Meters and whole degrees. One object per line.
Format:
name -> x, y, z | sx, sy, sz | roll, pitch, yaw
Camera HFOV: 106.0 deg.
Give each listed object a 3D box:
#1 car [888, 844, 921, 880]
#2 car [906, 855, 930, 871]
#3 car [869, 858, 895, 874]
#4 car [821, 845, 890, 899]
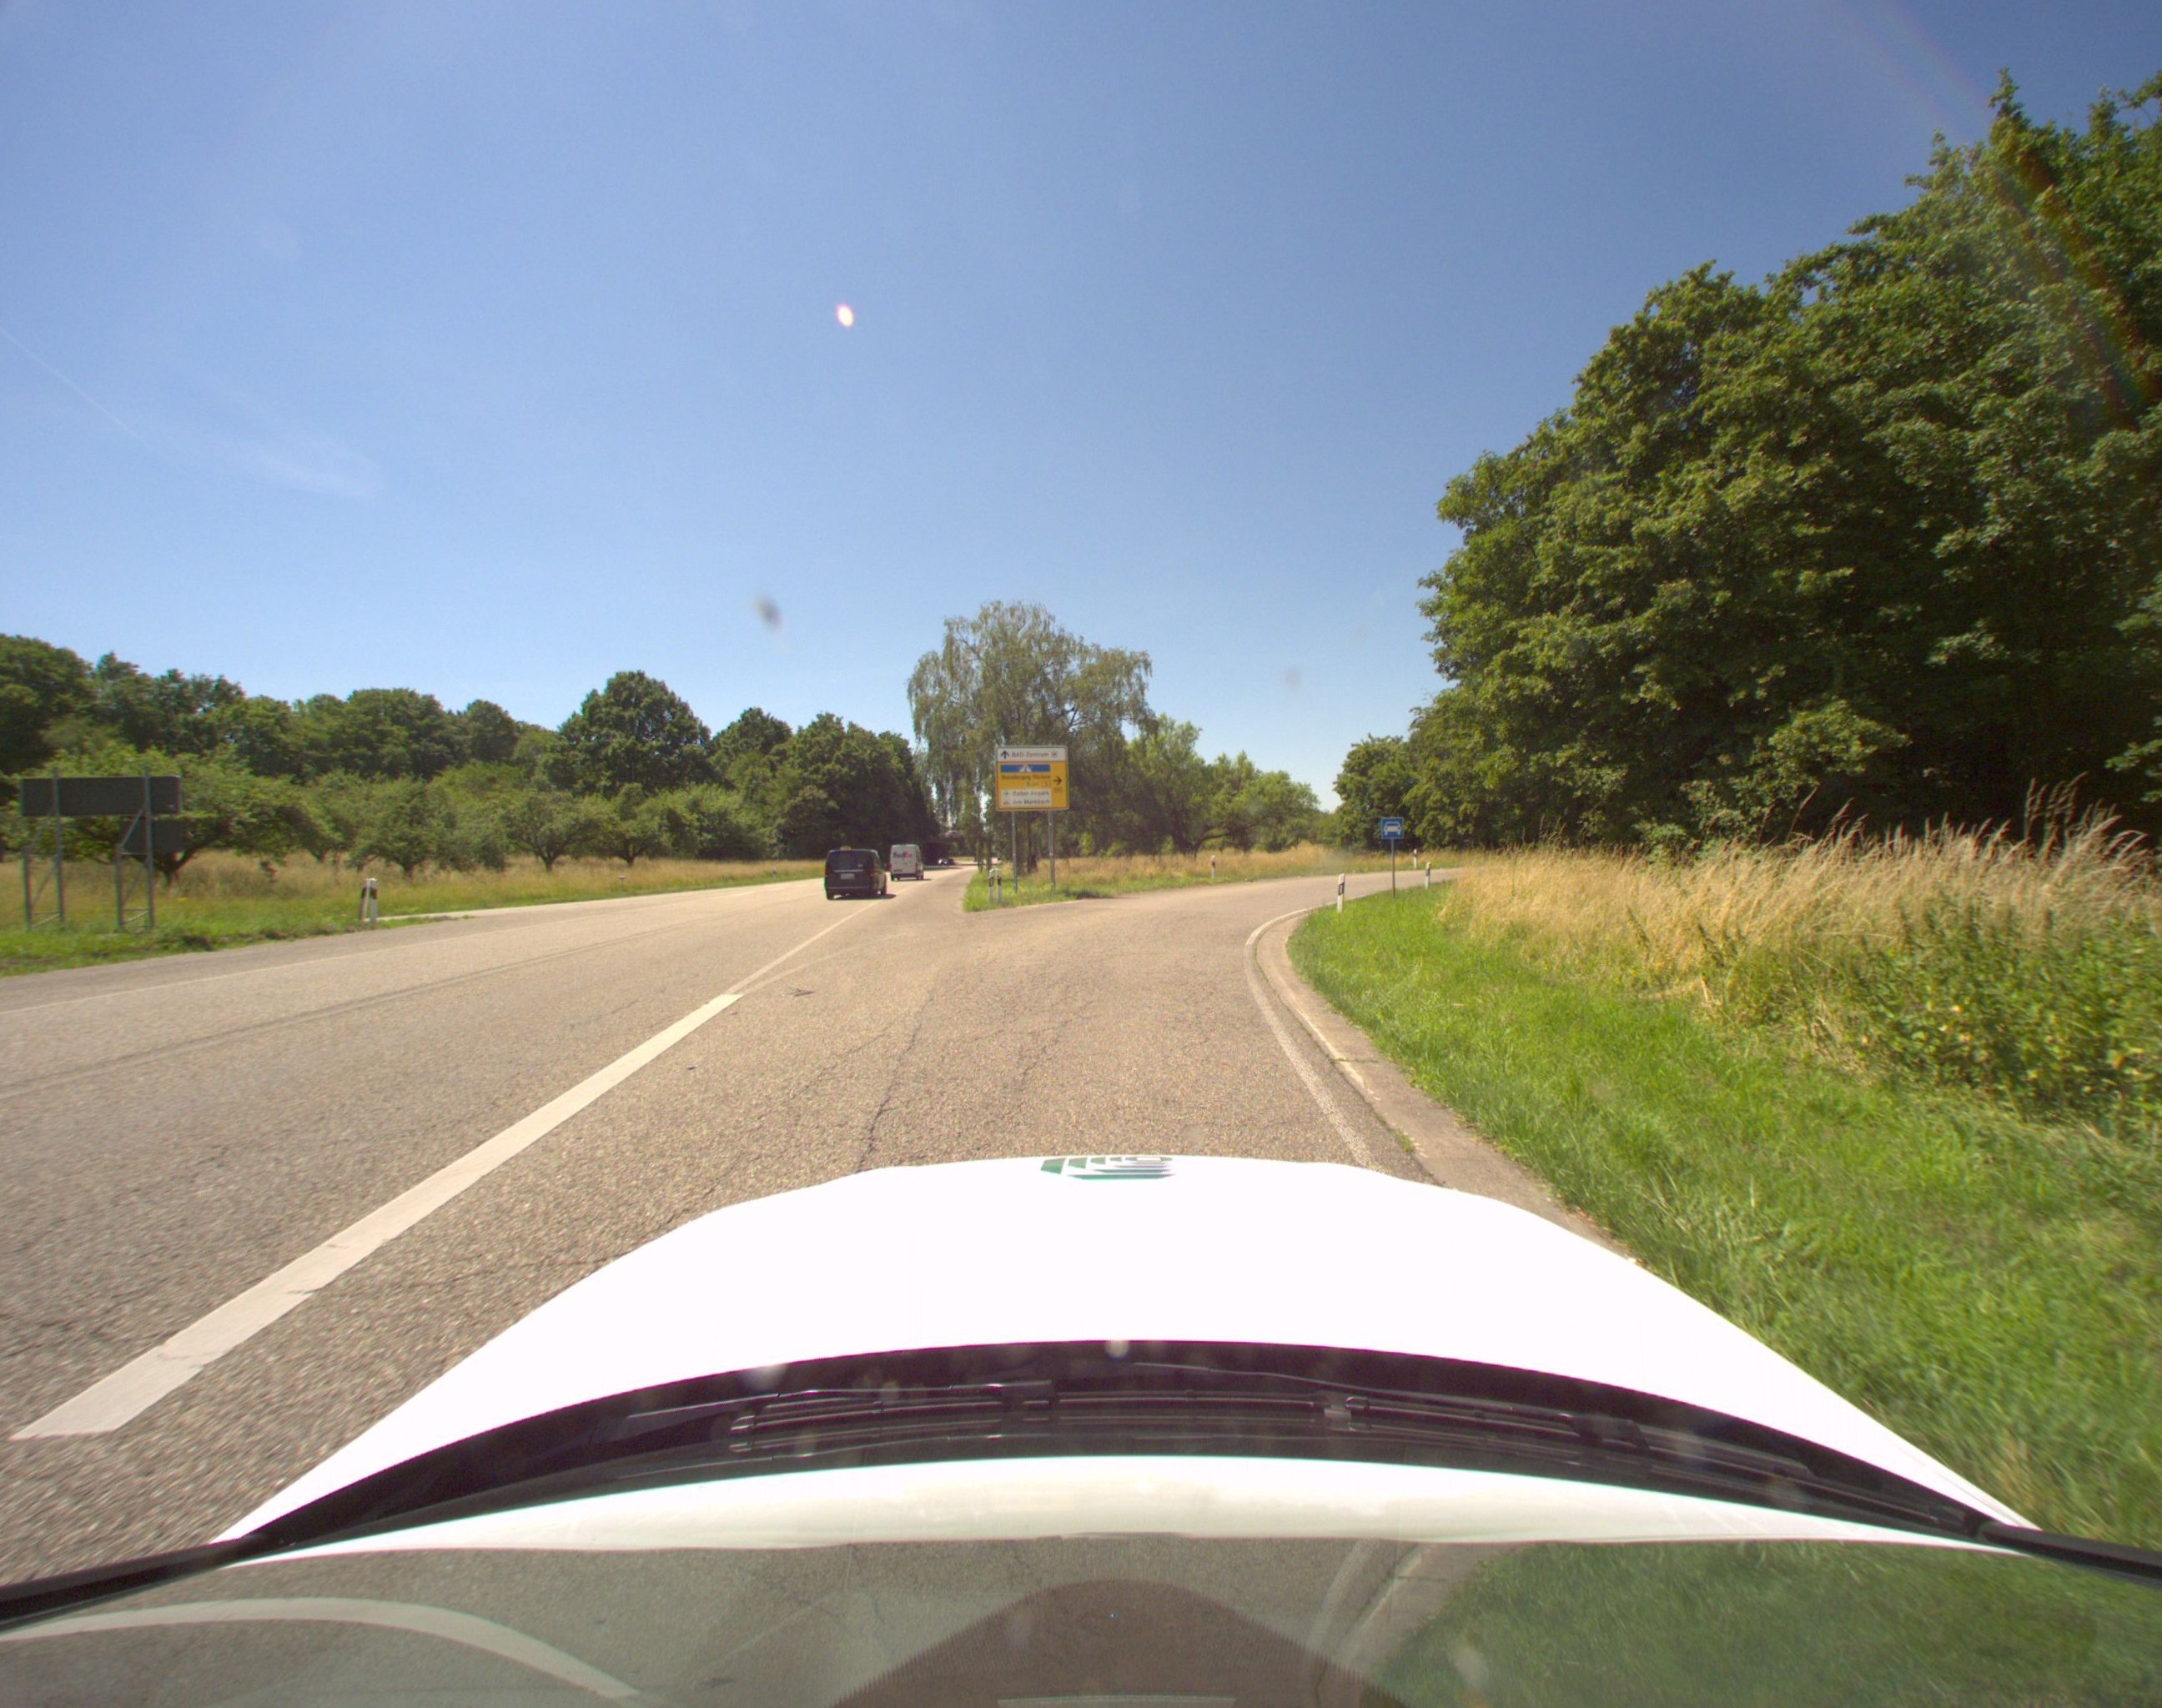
car -> -12.811, 0.539, 59.168 | 2.117, 2.501, 4.076 | 0, 0, -10
car -> -16.707, 0.885, 83.753 | 2.115, 1.635, 4.079 | 0, 0, -8
car -> -20.131, 1.192, 82.704 | 2.115, 1.635, 4.079 | 0, 0, -8
car -> -8.646, 0.648, 31.549 | 1.992, 1.947, 4.079 | 0, 0, -7
